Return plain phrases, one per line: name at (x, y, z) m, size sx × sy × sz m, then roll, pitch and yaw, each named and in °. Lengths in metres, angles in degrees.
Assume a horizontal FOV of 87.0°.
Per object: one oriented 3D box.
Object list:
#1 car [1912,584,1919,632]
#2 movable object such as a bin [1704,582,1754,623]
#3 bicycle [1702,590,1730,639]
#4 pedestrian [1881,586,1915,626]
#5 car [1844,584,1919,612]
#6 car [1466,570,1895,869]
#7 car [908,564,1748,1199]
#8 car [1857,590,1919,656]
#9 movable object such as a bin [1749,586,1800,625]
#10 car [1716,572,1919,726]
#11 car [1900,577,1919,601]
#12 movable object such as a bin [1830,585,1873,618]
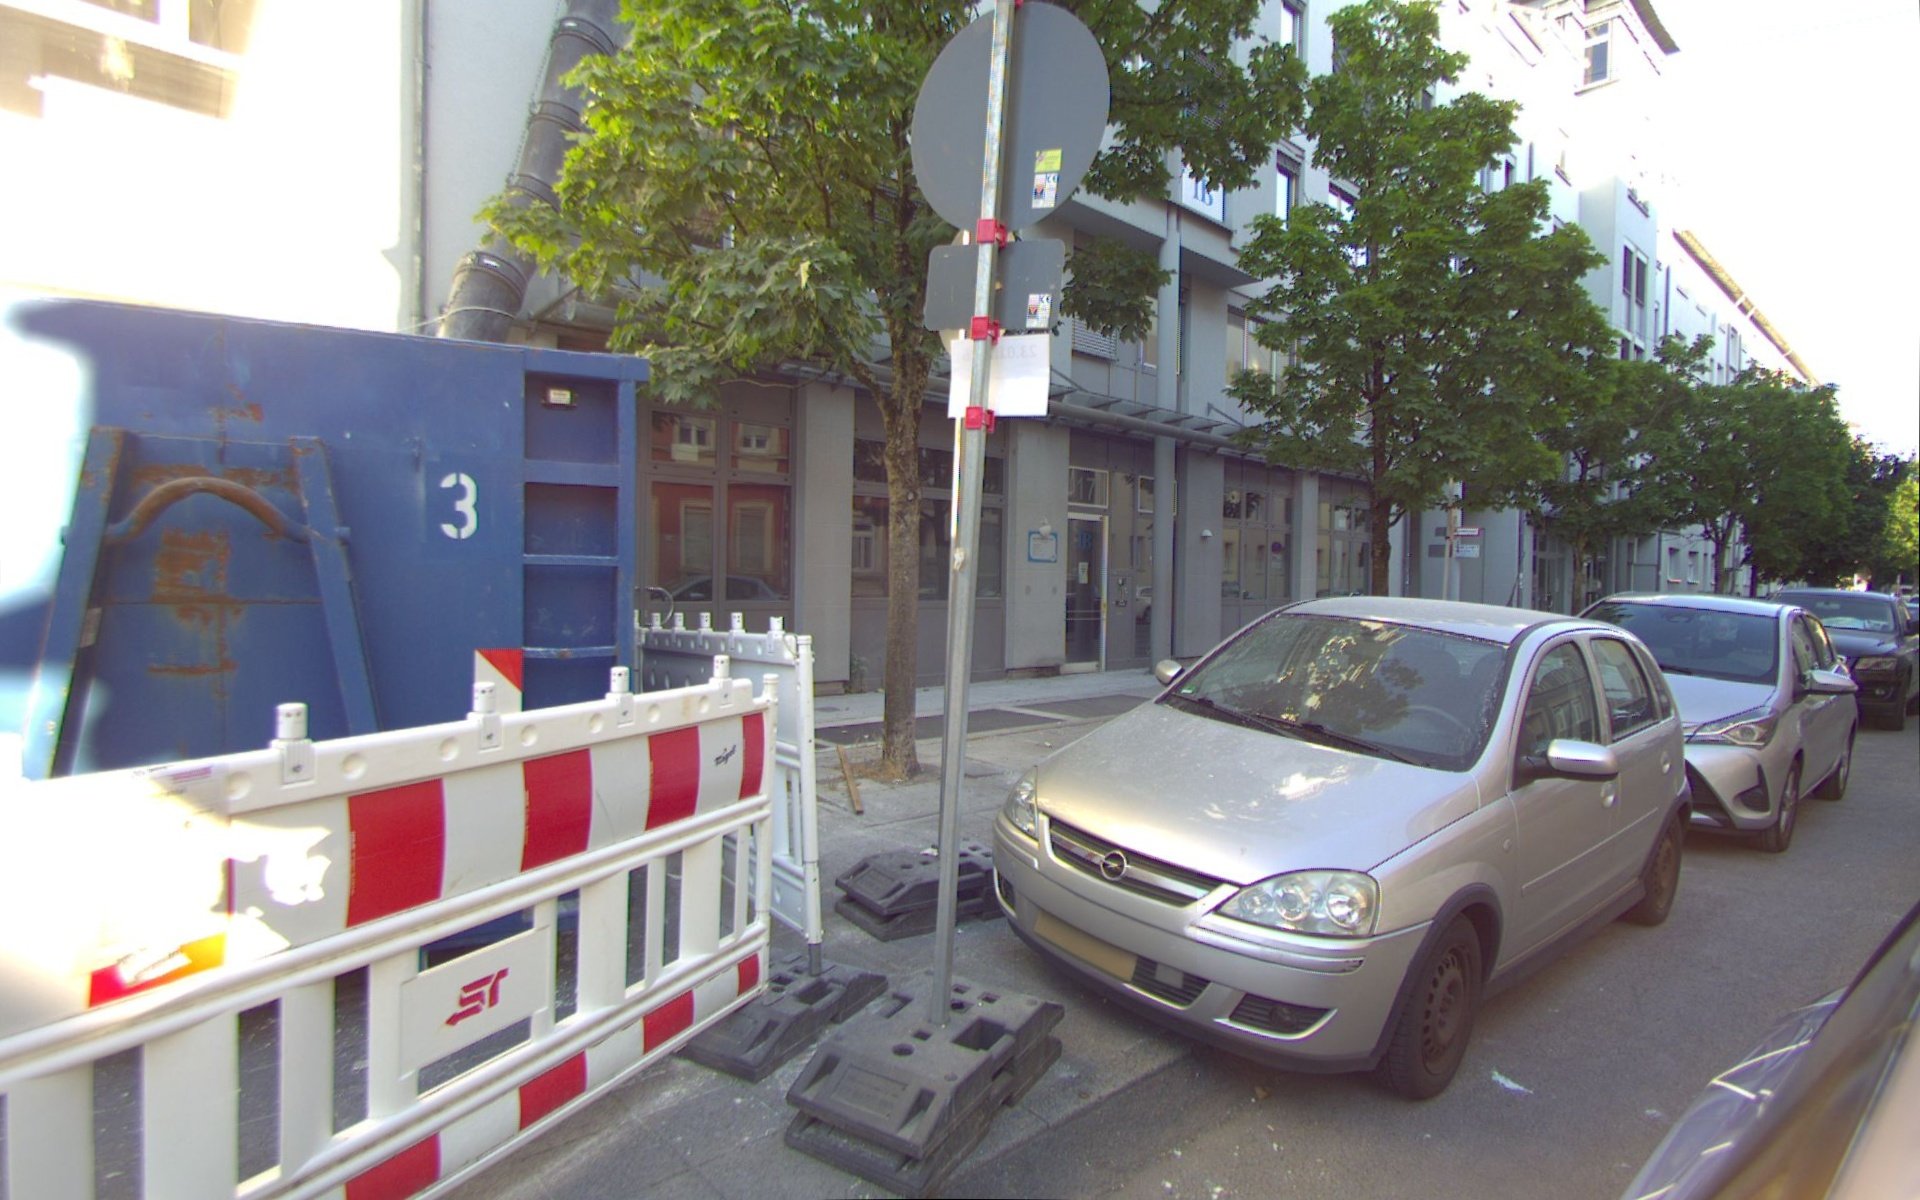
car at (35.231, 0.309, 35.942) m, size 1.873 × 1.655 × 4.646 m, roll 4°, pitch 4°, yaw 45°
movable object such as a bin at (28.571, 0.074, 37.617) m, size 1.120 × 1.454 × 1.263 m, roll 0°, pitch 3°, yaw -43°
bicycle at (19.598, 0.348, 26.246) m, size 0.518 × 1.182 × 1.718 m, roll 3°, pitch 3°, yaw 36°
pedestrian at (35.856, 0.215, 38.690) m, size 0.855 × 1.481 × 0.801 m, roll 0°, pitch 3°, yaw -42°
car at (60.208, -0.119, 65.732) m, size 1.968 × 1.584 × 3.991 m, roll -1°, pitch 4°, yaw -45°
car at (5.367, 0.612, 7.346) m, size 3.902 × 1.543 × 1.679 m, roll 0°, pitch 3°, yaw -42°
car at (1.759, 0.656, 4.237) m, size 3.664 × 1.493 × 1.680 m, roll 0°, pitch 3°, yaw -41°
car at (23.324, 0.532, 24.660) m, size 4.272 × 1.446 × 1.766 m, roll -1°, pitch 4°, yaw -43°
movable object such as a bin at (29.627, 0.192, 36.825) m, size 1.120 × 1.337 × 1.263 m, roll 0°, pitch 3°, yaw -43°
car at (11.670, 0.512, 13.393) m, size 4.360 × 1.642 × 1.888 m, roll -1°, pitch 3°, yaw -43°
car at (96.954, -1.069, 101.983) m, size 2.147 × 2.311 × 6.136 m, roll 3°, pitch 3°, yaw 33°
movable object such as a bin at (40.496, 0.054, 45.978) m, size 1.203 × 1.454 × 1.286 m, roll 0°, pitch 3°, yaw -43°
